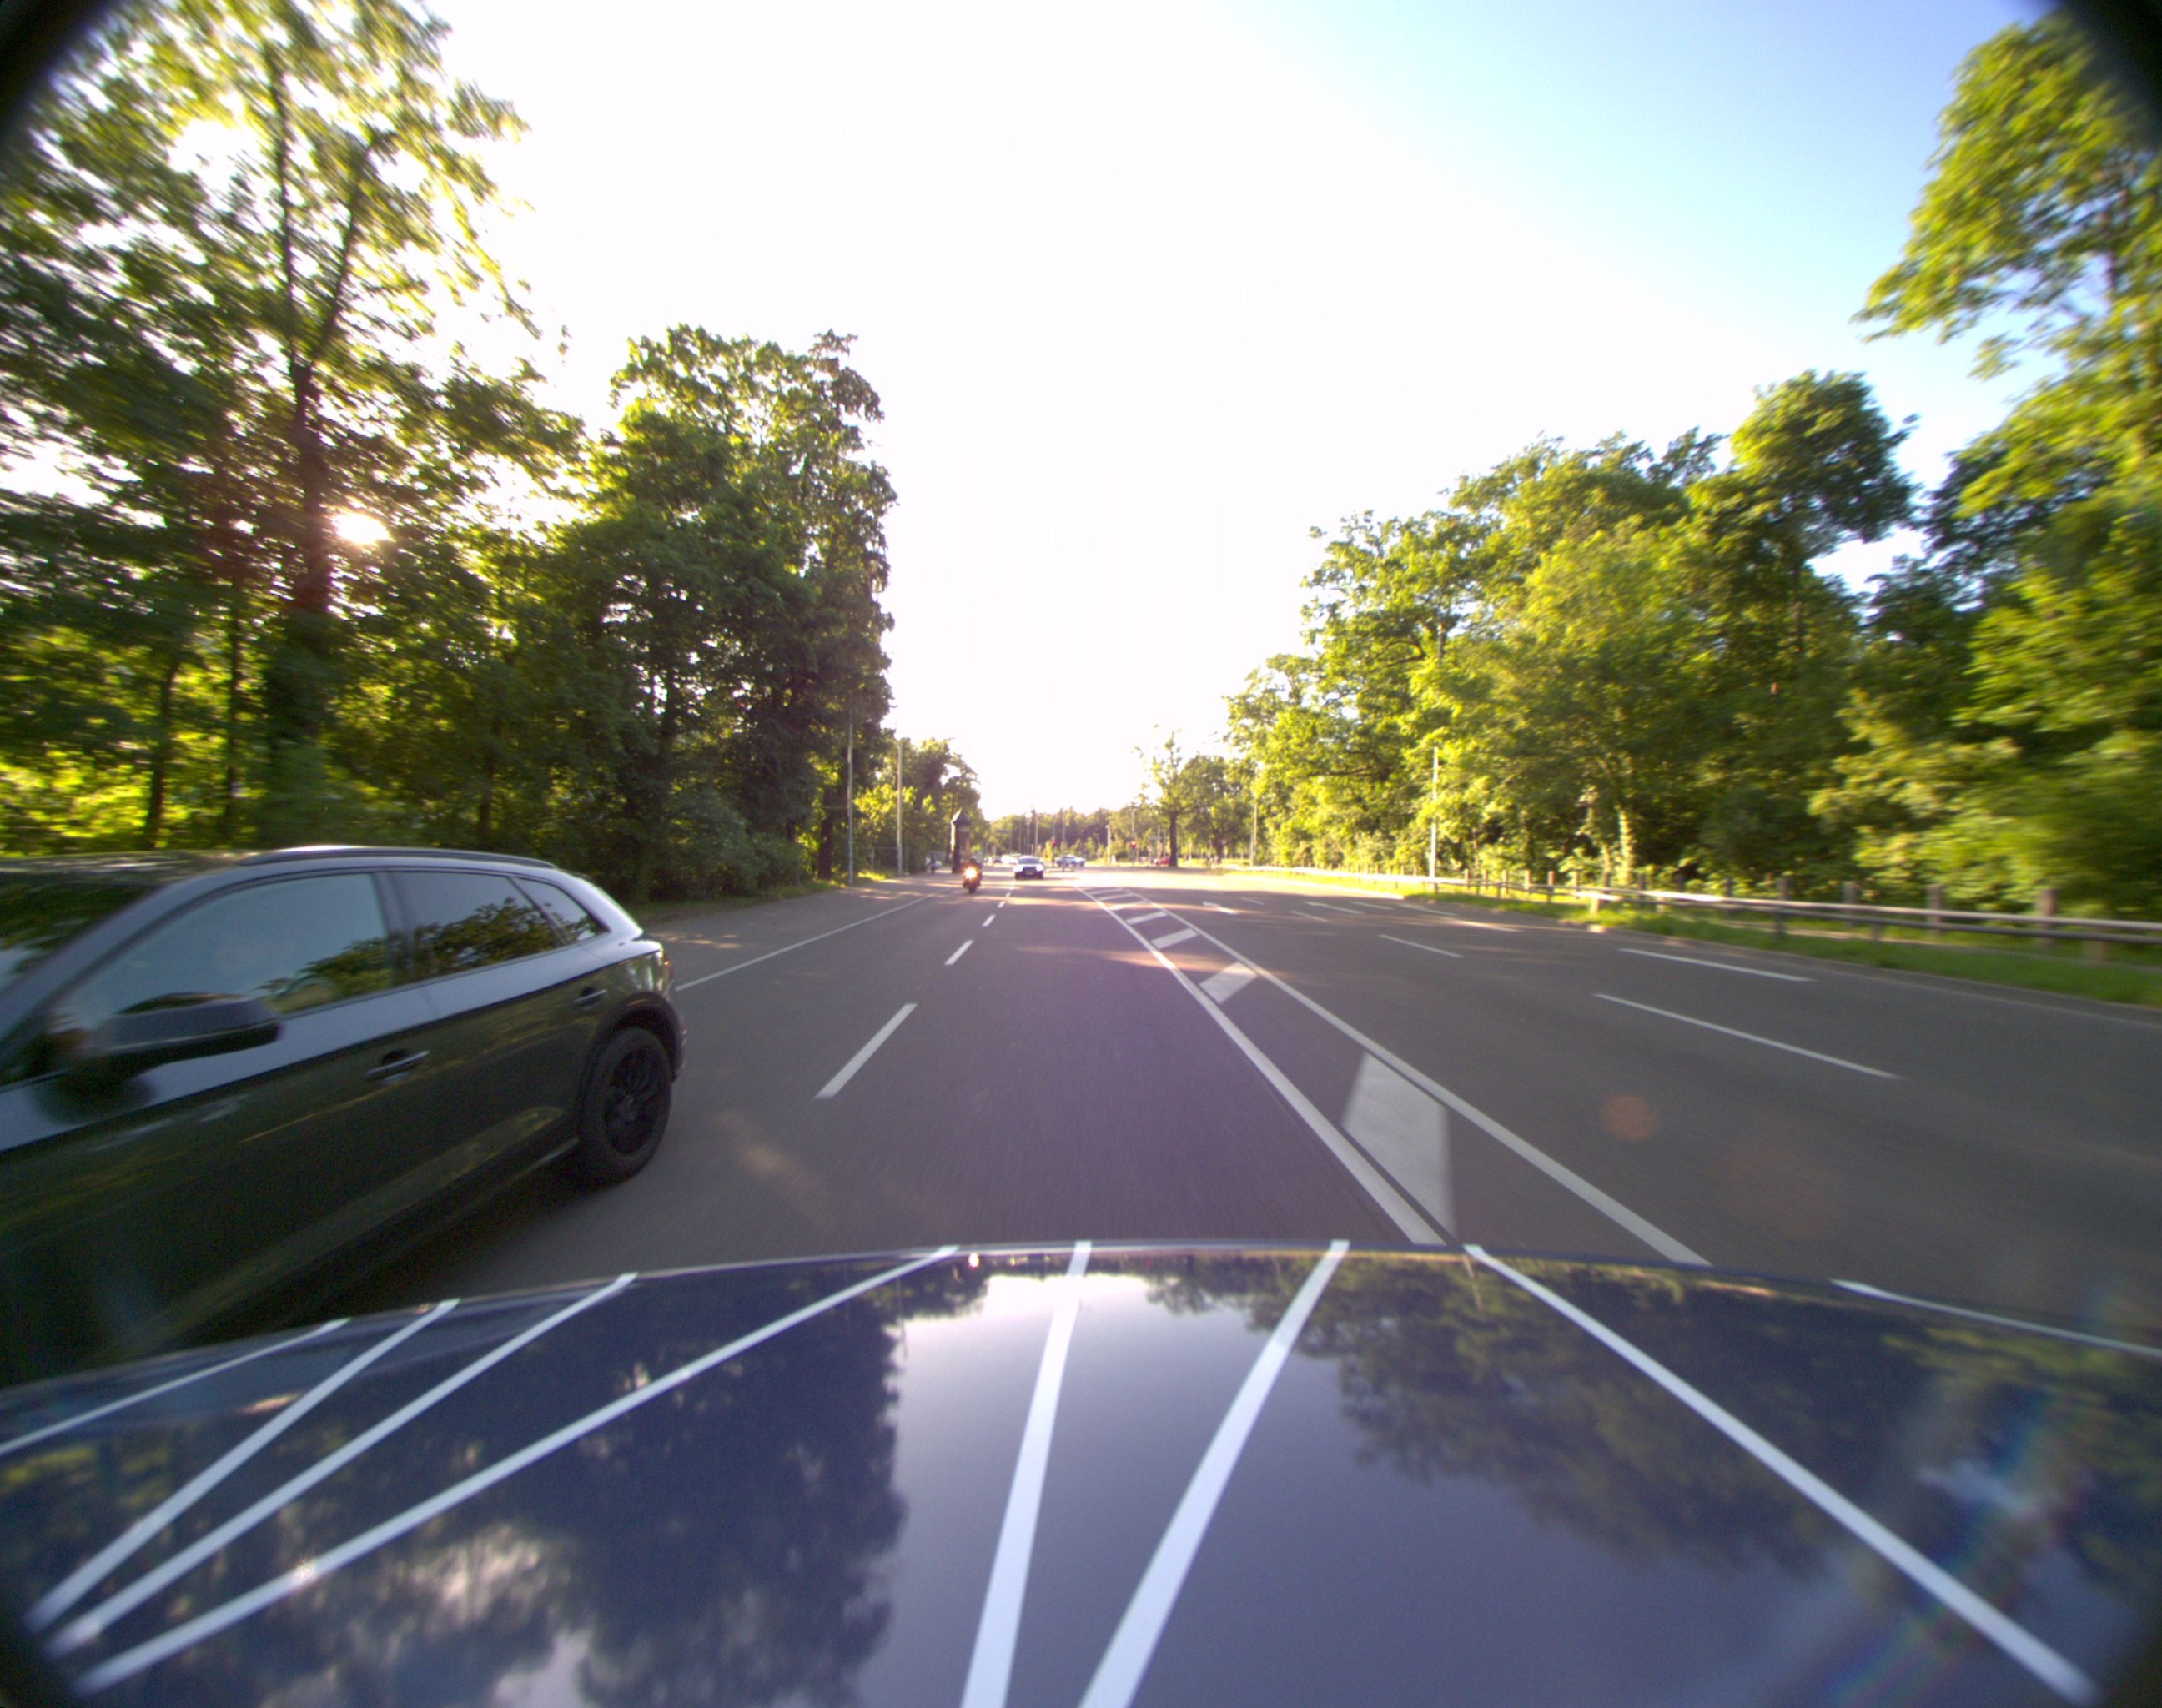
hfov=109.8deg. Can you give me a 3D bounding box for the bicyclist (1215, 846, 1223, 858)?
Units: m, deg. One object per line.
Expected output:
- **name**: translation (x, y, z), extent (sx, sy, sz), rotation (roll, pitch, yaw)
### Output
- **bicyclist**: translation (17.391, -0.238, 95.636), extent (0.798, 1.474, 0.731), rotation (-1, 2, 36)

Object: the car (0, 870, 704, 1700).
- **car**: translation (-3.168, 0.938, 2.185), extent (1.898, 1.596, 4.543), rotation (-2, 1, -1)

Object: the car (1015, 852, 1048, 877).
- **car**: translation (-3.376, 0.657, 51.077), extent (1.868, 1.538, 4.792), rotation (-1, 0, -8)

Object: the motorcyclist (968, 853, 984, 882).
- **motorcyclist**: translation (-4.671, 0.602, 33.780), extent (0.672, 1.257, 0.825), rotation (-2, 1, -7)

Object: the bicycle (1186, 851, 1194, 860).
- **bicycle**: translation (14.048, 0.210, 97.792), extent (0.680, 1.147, 1.987), rotation (-1, -1, 21)

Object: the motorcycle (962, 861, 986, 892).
- **motorcycle**: translation (-4.599, 0.958, 32.951), extent (0.916, 1.243, 2.961), rotation (-2, -1, -7)

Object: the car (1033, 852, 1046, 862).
- **car**: translation (-6.176, 0.363, 111.903), extent (1.662, 1.418, 4.315), rotation (-1, 0, -7)

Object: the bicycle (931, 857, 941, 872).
- **bicycle**: translation (-11.436, 0.835, 59.972), extent (0.556, 1.131, 1.862), rotation (-3, 1, -7)

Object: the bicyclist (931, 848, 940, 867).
- **bicyclist**: translation (-11.431, 0.251, 59.753), extent (0.522, 1.461, 0.860), rotation (-2, 1, -7)

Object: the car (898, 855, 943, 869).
- **car**: translation (-17.122, 0.833, 81.184), extent (4.382, 1.370, 1.820), rotation (-2, 1, 2)

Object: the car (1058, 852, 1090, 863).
- **car**: translation (-1.031, 0.528, 106.077), extent (4.288, 1.504, 1.843), rotation (0, 1, 41)

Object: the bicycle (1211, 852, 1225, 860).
- **bicycle**: translation (17.283, 0.253, 95.726), extent (1.586, 0.971, 0.786), rotation (-1, 1, 35)

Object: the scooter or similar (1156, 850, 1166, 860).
- **scooter or similar**: translation (9.370, 0.137, 89.064), extent (1.069, 1.140, 0.394), rotation (0, 0, 2)

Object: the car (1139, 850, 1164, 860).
- **car**: translation (11.821, 0.194, 127.450), extent (3.993, 1.501, 1.658), rotation (-1, 1, 13)

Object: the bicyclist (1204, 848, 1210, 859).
- **bicyclist**: translation (15.486, -0.058, 93.284), extent (0.529, 1.392, 0.519), rotation (-2, 1, -1)

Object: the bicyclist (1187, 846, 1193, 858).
- **bicyclist**: translation (13.957, -0.220, 97.570), extent (0.562, 1.542, 0.801), rotation (-1, -1, 21)

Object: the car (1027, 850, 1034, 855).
- **car**: translation (-16.258, -0.423, 242.916), extent (1.892, 1.544, 4.568), rotation (-2, 1, -9)

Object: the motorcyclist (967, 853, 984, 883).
- **motorcyclist**: translation (-4.548, 0.610, 32.902), extent (0.672, 1.257, 0.825), rotation (-2, 1, -7)

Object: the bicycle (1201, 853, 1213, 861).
- **bicycle**: translation (15.489, 0.341, 93.288), extent (1.354, 0.971, 0.522), rotation (-2, 1, -2)
